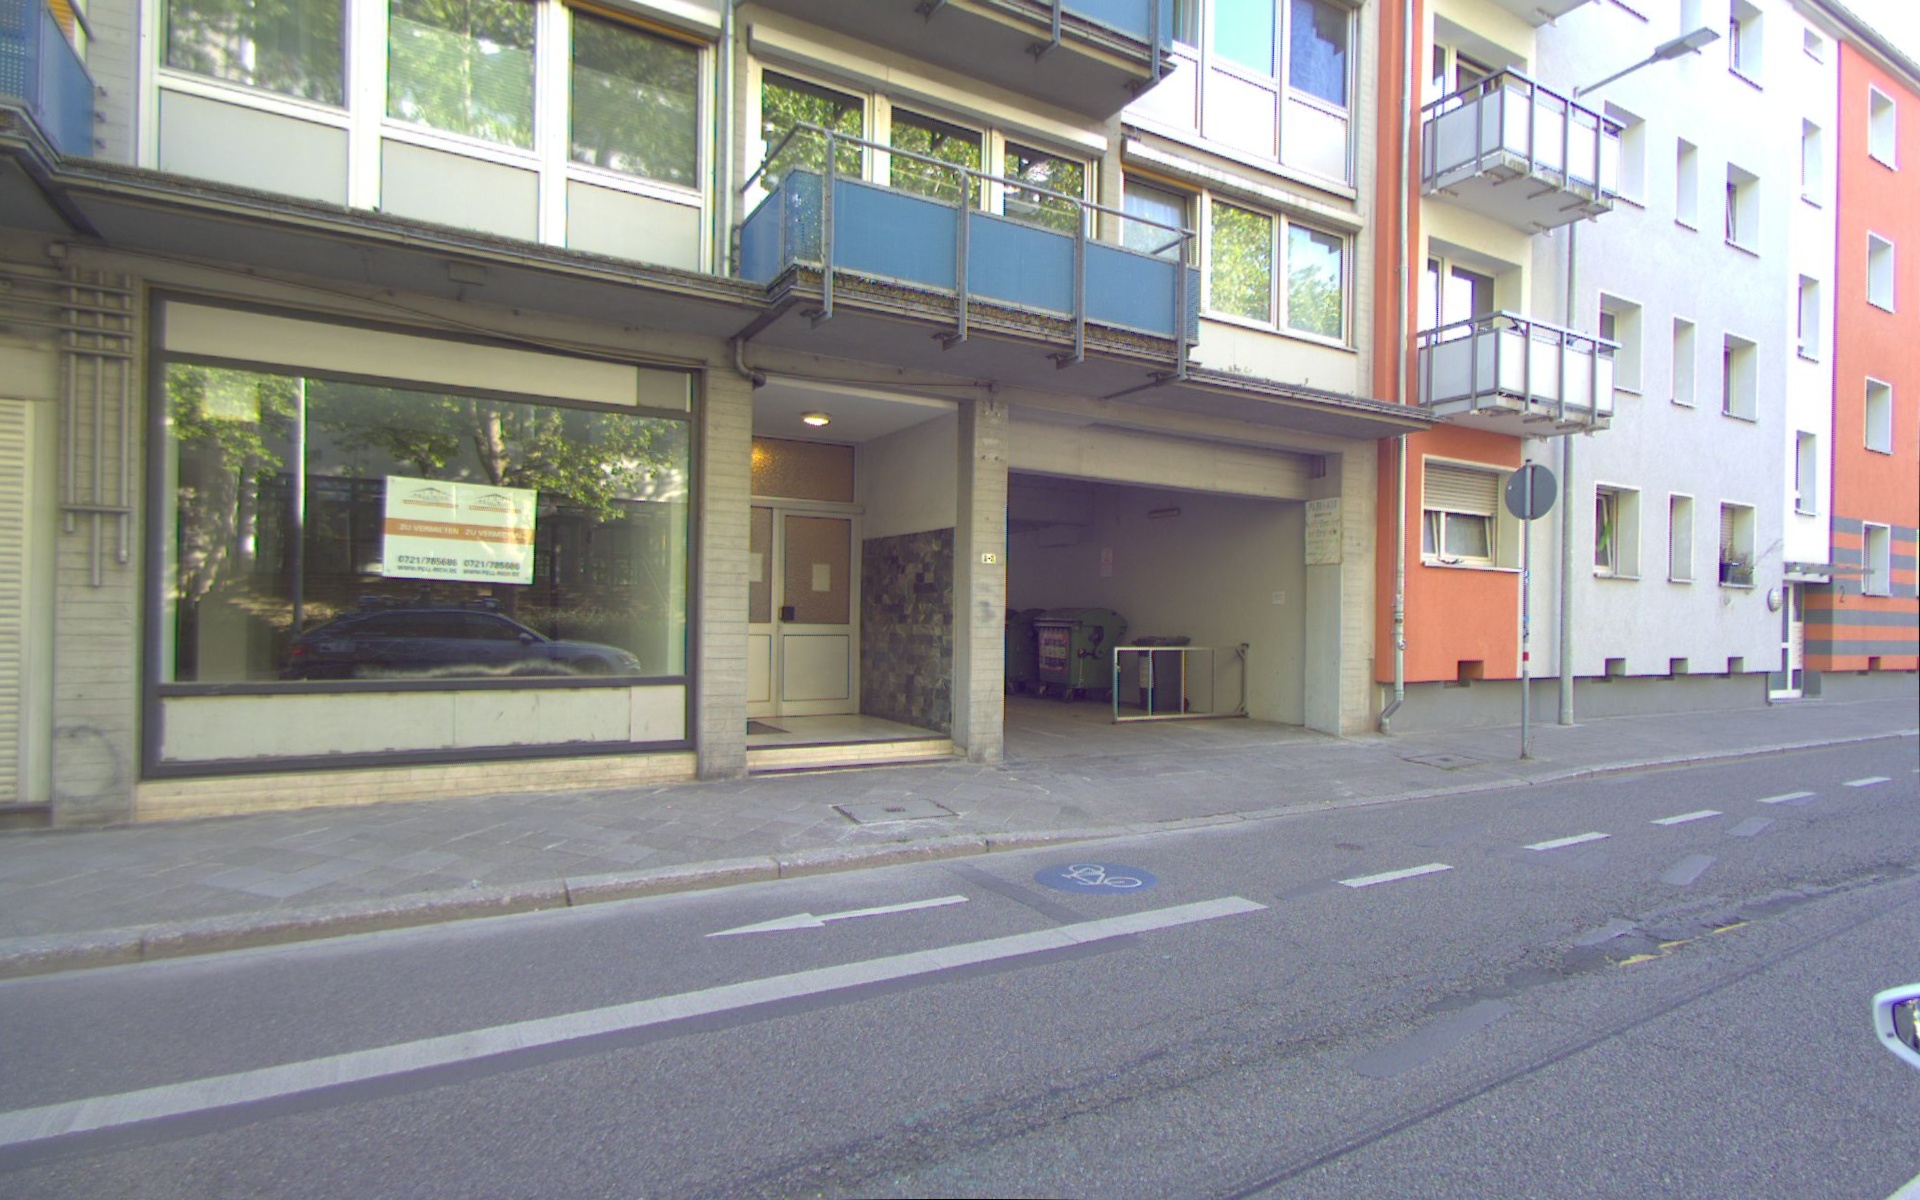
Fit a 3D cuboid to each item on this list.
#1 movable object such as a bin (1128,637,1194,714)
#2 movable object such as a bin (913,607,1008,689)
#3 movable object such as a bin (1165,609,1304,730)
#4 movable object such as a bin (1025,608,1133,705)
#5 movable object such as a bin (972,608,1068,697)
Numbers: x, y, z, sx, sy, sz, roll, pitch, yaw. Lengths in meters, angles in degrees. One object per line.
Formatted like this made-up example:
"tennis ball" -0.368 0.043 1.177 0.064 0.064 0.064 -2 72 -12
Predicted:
"movable object such as a bin" 2.912 1.075 14.544 0.695 1.055 0.593 2 0 -30
"movable object such as a bin" -0.017 0.864 18.889 1.119 1.449 1.666 1 0 -28
"movable object such as a bin" 3.503 0.850 12.915 1.119 1.449 1.322 1 0 -28
"movable object such as a bin" 1.862 0.861 15.863 1.128 1.449 1.342 1 0 -28
"movable object such as a bin" 1.011 0.867 17.186 1.119 1.449 1.322 1 0 -28
